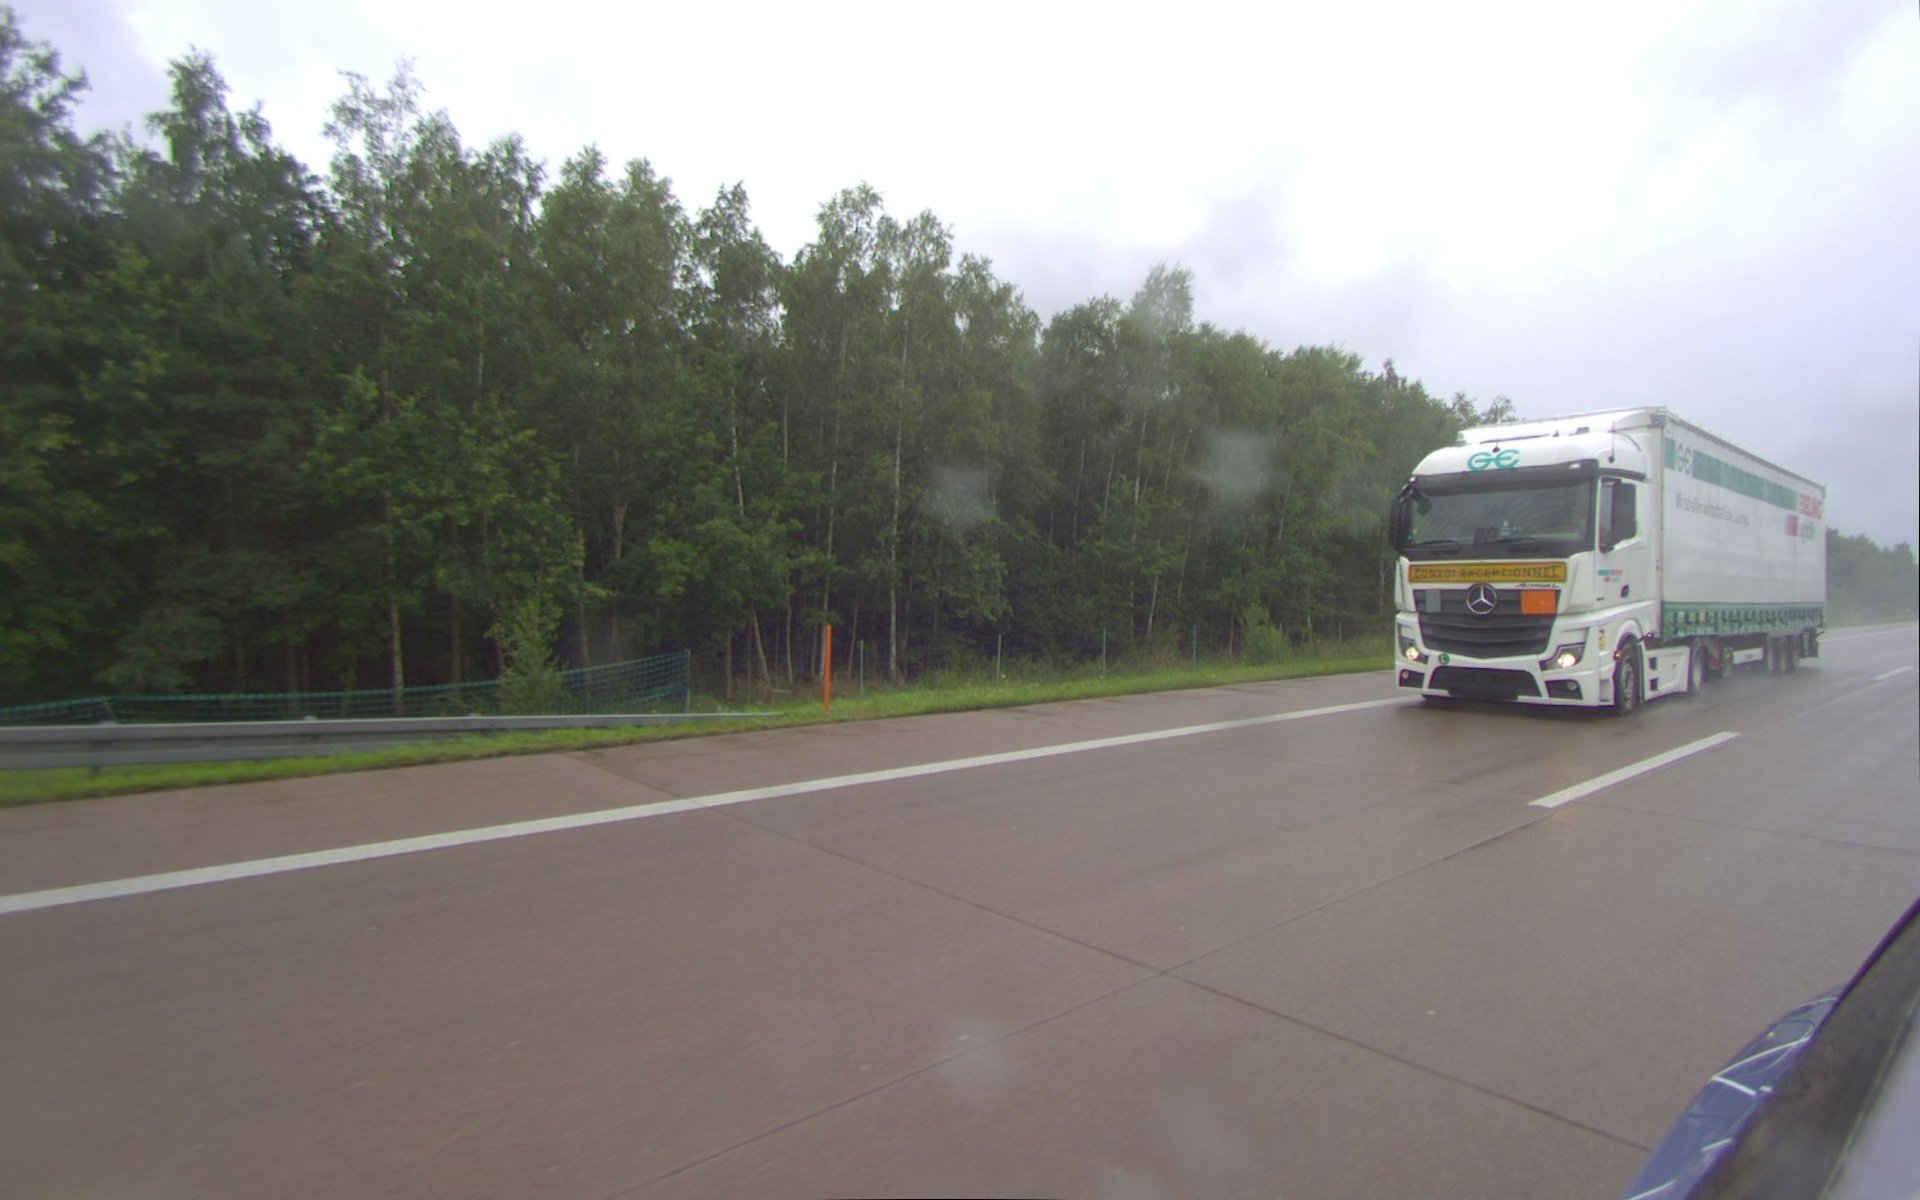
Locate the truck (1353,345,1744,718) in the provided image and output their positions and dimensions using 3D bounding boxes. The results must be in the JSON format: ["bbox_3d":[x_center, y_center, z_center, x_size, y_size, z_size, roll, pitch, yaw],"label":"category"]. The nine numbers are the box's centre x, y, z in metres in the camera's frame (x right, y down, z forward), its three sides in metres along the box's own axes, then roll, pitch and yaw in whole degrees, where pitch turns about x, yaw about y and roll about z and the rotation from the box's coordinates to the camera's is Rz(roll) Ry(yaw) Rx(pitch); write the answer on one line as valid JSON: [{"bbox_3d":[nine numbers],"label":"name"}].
[{"bbox_3d":[8.584,-0.777,14.452,6.238,4.158,2.886,1,1,-42],"label":"truck"}]

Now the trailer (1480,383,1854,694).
[{"bbox_3d":[14.108,-0.826,19.347,12.903,4.284,2.858,1,1,-42],"label":"trailer"}]
